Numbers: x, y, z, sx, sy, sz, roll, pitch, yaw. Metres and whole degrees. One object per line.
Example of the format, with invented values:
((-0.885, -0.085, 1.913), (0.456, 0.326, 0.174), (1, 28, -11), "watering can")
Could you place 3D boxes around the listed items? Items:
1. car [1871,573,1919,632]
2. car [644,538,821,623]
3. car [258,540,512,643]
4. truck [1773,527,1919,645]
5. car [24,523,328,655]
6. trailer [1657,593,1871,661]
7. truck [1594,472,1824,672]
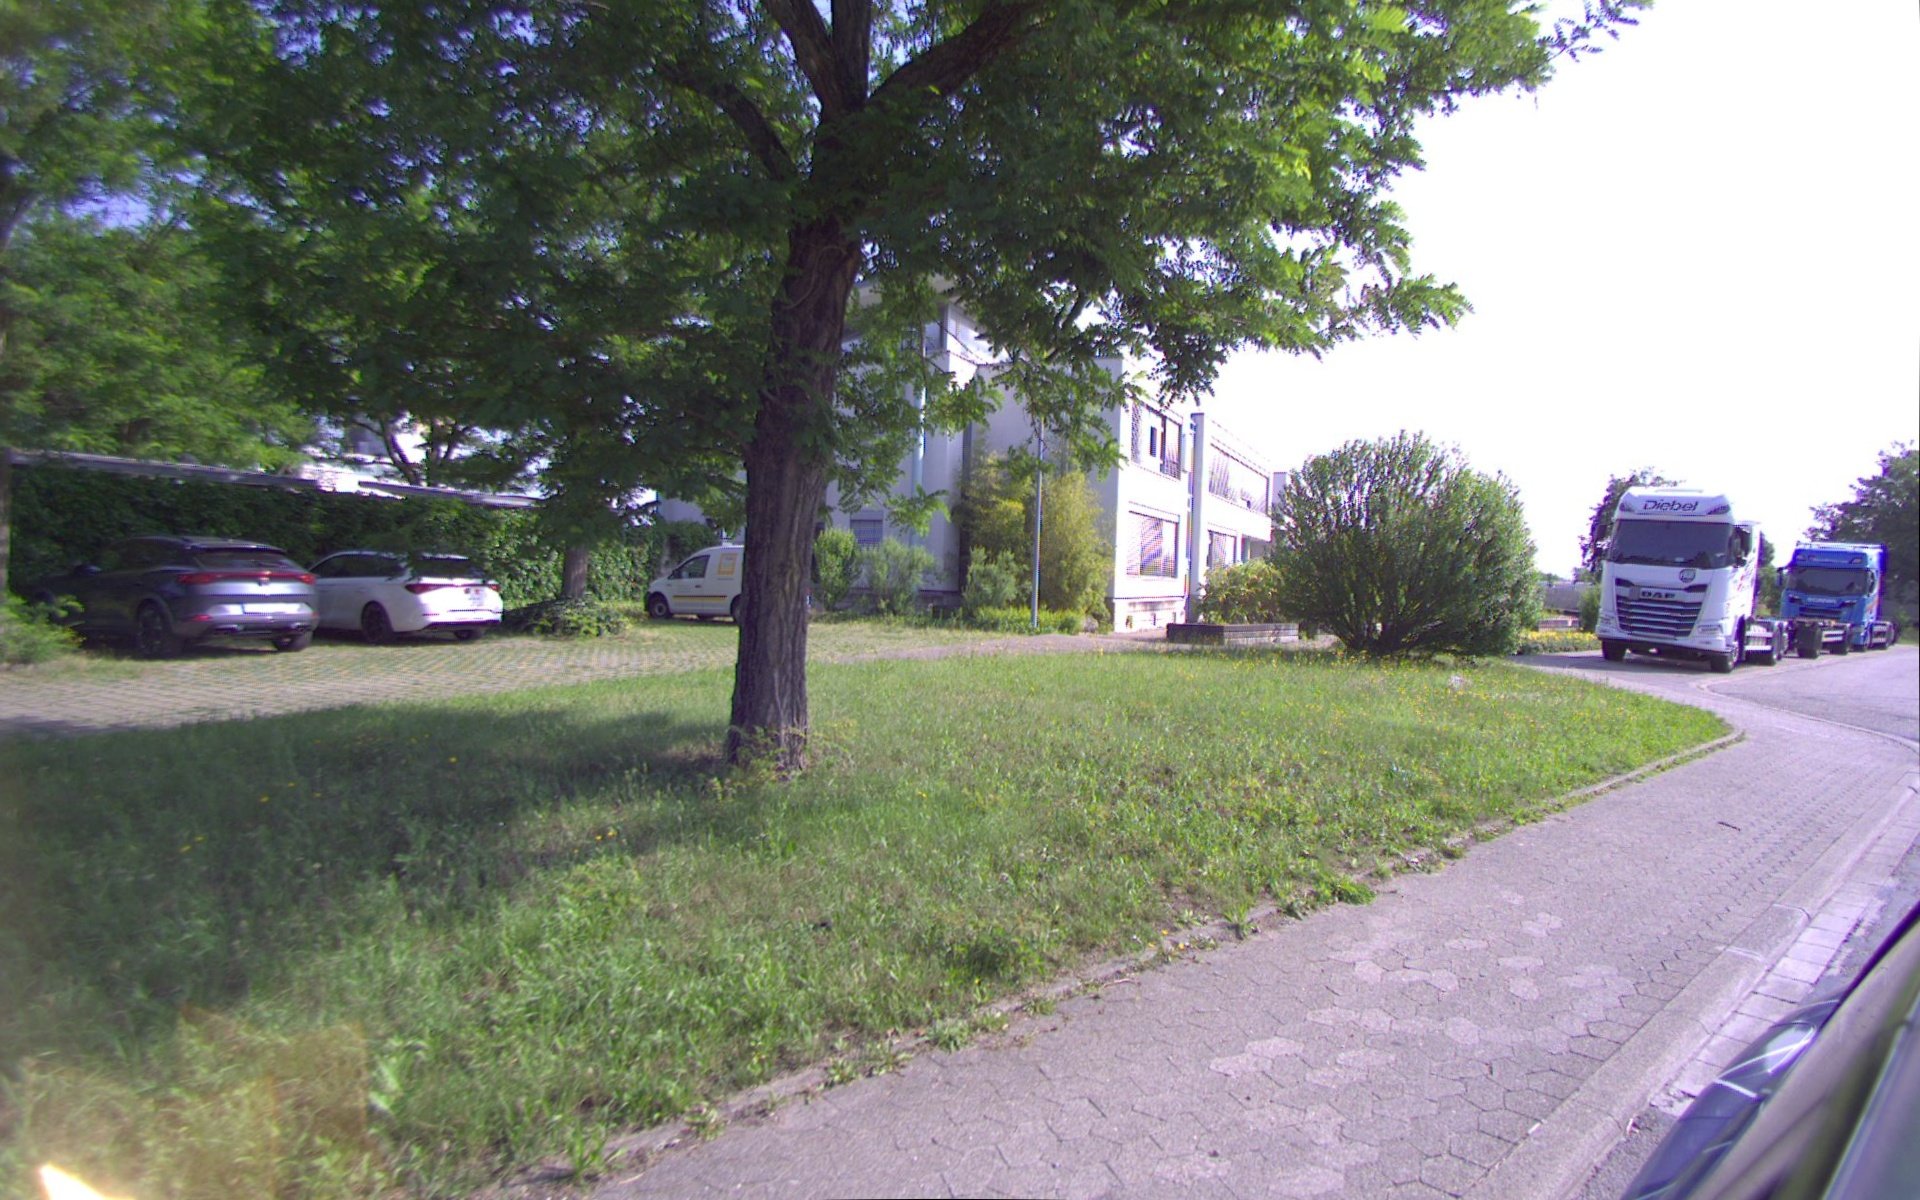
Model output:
((56.513, 0.201, 56.642), (8.129, 3.276, 2.622), (2, 1, 44), "car")
((-5.305, -0.486, 23.524), (3.882, 1.772, 1.734), (3, 2, 31), "car")
((-9.256, -0.191, 16.232), (4.006, 1.422, 1.724), (2, 2, 29), "car")
((34.251, -0.524, 38.903), (10.398, 3.988, 3.040), (1, 2, -43), "truck")
((-10.488, -0.208, 13.502), (4.006, 1.481, 1.782), (3, 2, 29), "car")
((23.801, 0.633, 29.464), (13.893, 1.408, 2.552), (0, 5, -42), "trailer")
((18.147, -0.662, 24.242), (8.434, 4.029, 2.558), (0, 4, -42), "truck")
